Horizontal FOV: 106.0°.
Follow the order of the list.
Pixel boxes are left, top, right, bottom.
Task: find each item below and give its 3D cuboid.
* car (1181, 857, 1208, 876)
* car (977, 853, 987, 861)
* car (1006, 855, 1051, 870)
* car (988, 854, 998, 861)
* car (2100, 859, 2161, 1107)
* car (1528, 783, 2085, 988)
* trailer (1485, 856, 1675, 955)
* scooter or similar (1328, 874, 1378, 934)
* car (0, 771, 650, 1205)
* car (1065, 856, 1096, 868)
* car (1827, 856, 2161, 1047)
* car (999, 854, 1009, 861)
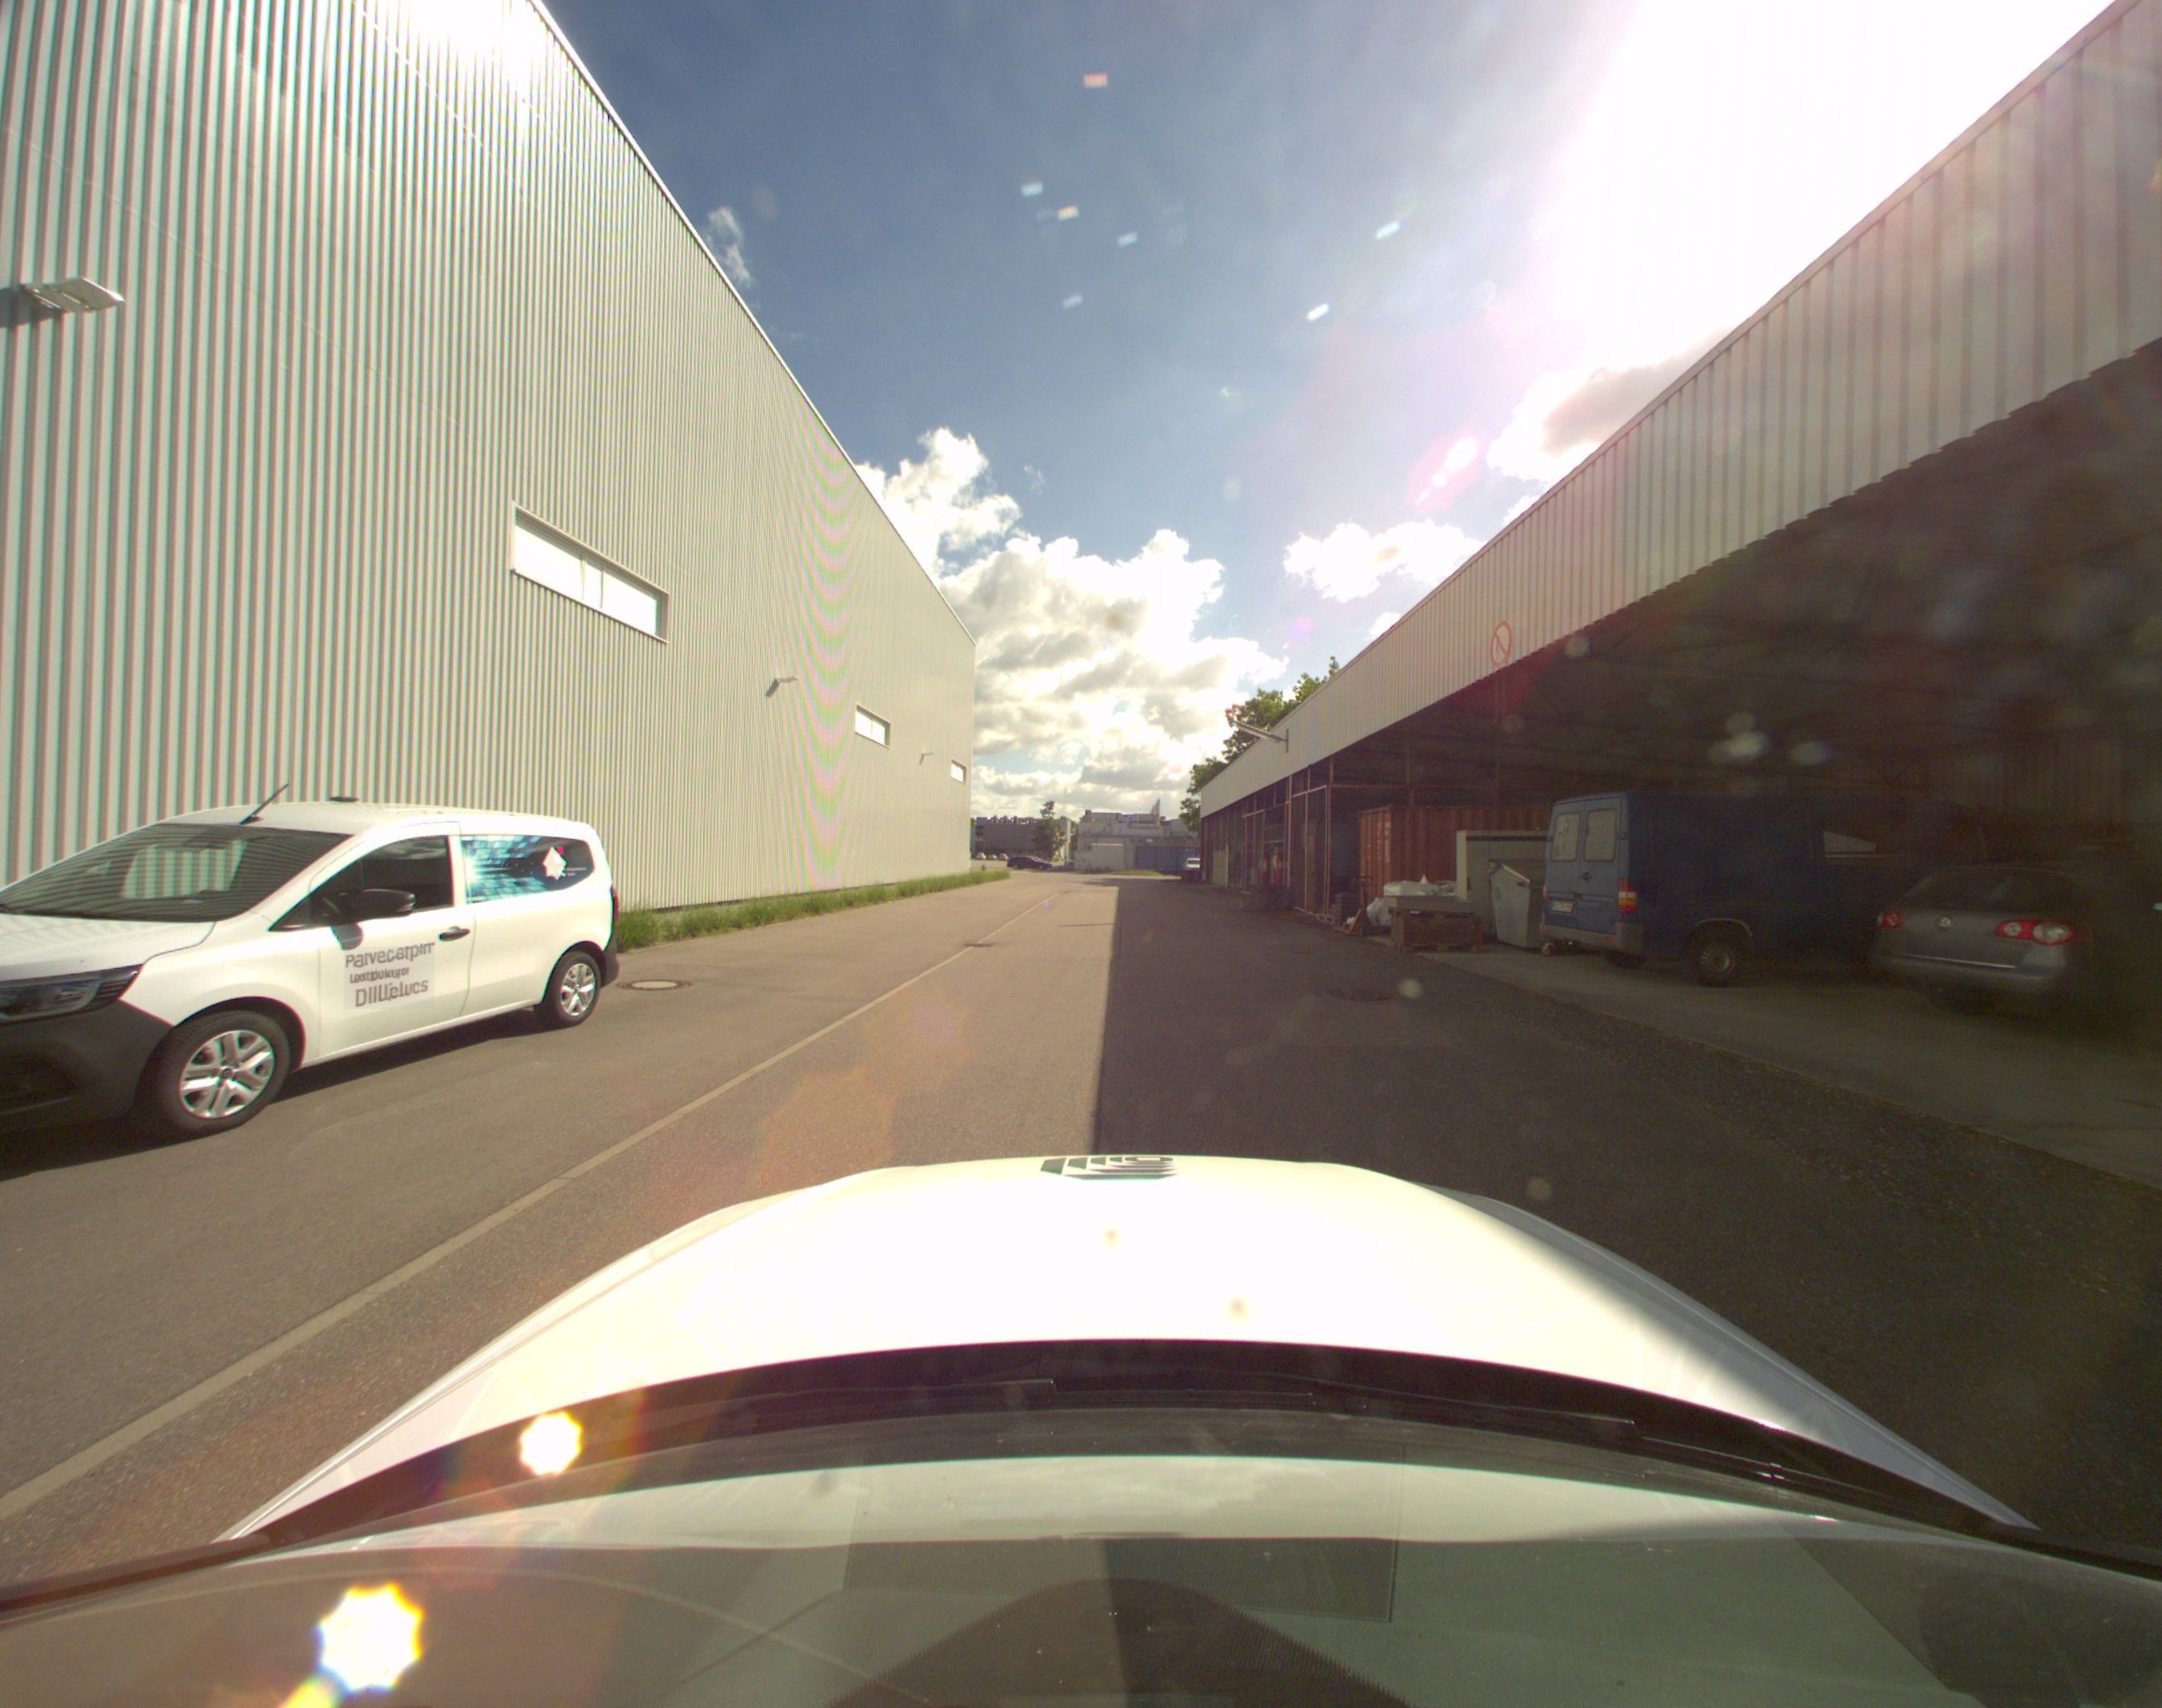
[{"bbox_3d":[10.401,1.139,74.776,1.973,1.593,4.343,2,1,2],"label":"car"},{"bbox_3d":[-22.501,0.692,185.488,1.871,1.689,4.035,0,-1,0],"label":"car"},{"bbox_3d":[-5.644,0.921,87.895,4.511,1.443,1.988,1,-2,2],"label":"car"},{"bbox_3d":[-19.951,0.744,185.255,1.871,1.537,4.035,0,-1,0],"label":"car"},{"bbox_3d":[8.414,0.722,4.092,4.331,1.433,1.864,0,-1,-1],"label":"car"},{"bbox_3d":[8.835,0.366,10.347,5.197,2.297,2.085,0,-1,1],"label":"car"},{"bbox_3d":[7.840,0.778,12.981,2.084,1.462,1.644,0,-1,5],"label":"trailer"},{"bbox_3d":[5.396,0.964,16.238,0.518,1.134,1.593,0,-1,2],"label":"scooter or similar"},{"bbox_3d":[-5.285,0.522,5.612,1.921,1.790,4.601,2,0,3],"label":"car"},{"bbox_3d":[-0.095,1.092,115.495,4.262,1.569,1.988,1,-2,2],"label":"car"},{"bbox_3d":[9.437,0.744,7.120,4.091,1.454,1.851,-1,-1,2],"label":"car"},{"bbox_3d":[-17.623,0.725,185.404,1.871,1.537,4.035,0,-1,0],"label":"car"}]
